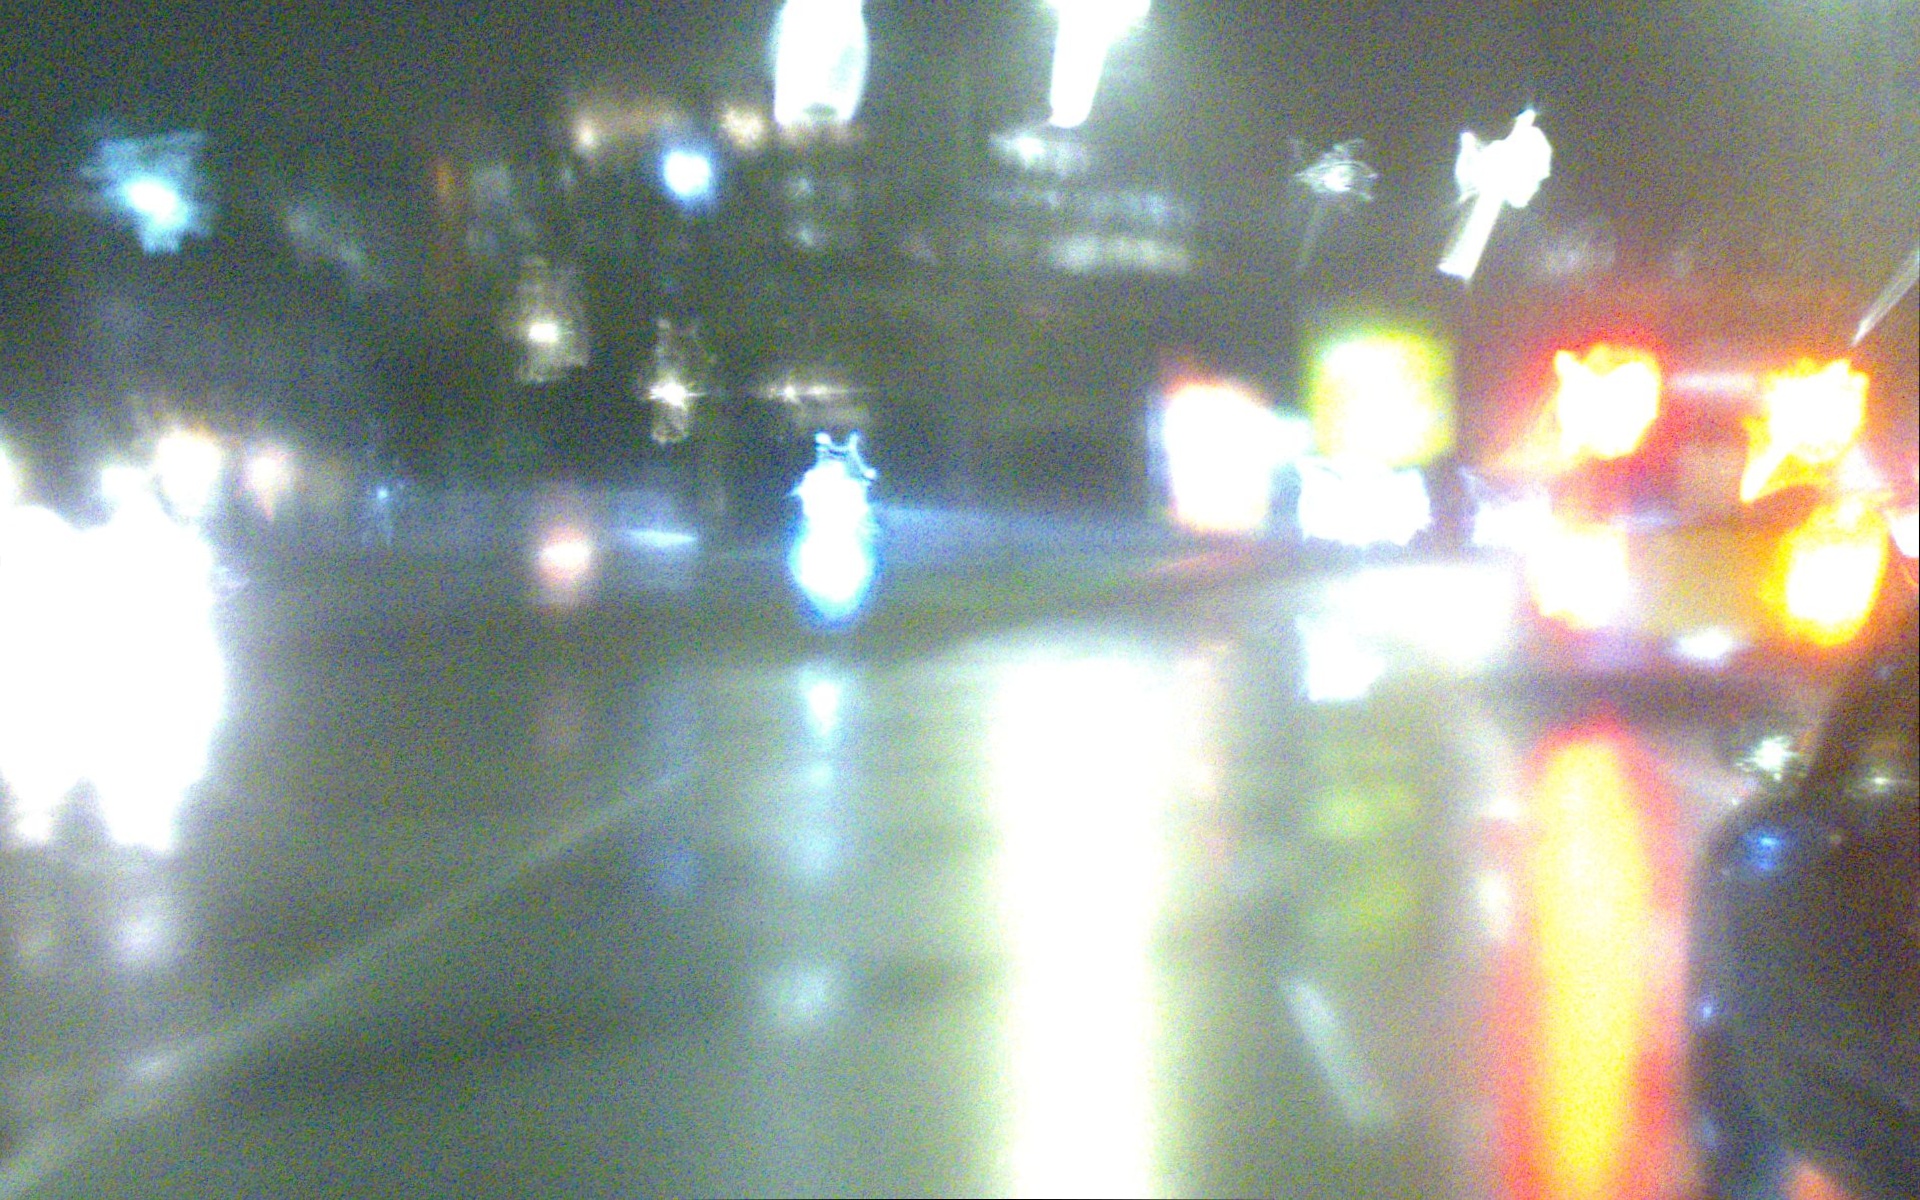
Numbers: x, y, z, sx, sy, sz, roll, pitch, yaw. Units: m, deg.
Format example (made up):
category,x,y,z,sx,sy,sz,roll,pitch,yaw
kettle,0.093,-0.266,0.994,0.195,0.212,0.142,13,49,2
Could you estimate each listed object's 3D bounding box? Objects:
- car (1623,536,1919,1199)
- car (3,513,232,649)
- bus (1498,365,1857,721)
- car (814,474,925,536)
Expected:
category,x,y,z,sx,sy,sz,roll,pitch,yaw
car,2.620,0.661,6.708,1.994,1.519,4.000,1,1,2
car,-9.860,-0.244,40.522,1.765,1.452,3.953,2,1,-1
bus,7.296,-0.590,36.159,3.044,3.201,9.047,2,1,8
car,-2.342,-2.512,90.347,1.995,1.588,3.998,1,2,13
